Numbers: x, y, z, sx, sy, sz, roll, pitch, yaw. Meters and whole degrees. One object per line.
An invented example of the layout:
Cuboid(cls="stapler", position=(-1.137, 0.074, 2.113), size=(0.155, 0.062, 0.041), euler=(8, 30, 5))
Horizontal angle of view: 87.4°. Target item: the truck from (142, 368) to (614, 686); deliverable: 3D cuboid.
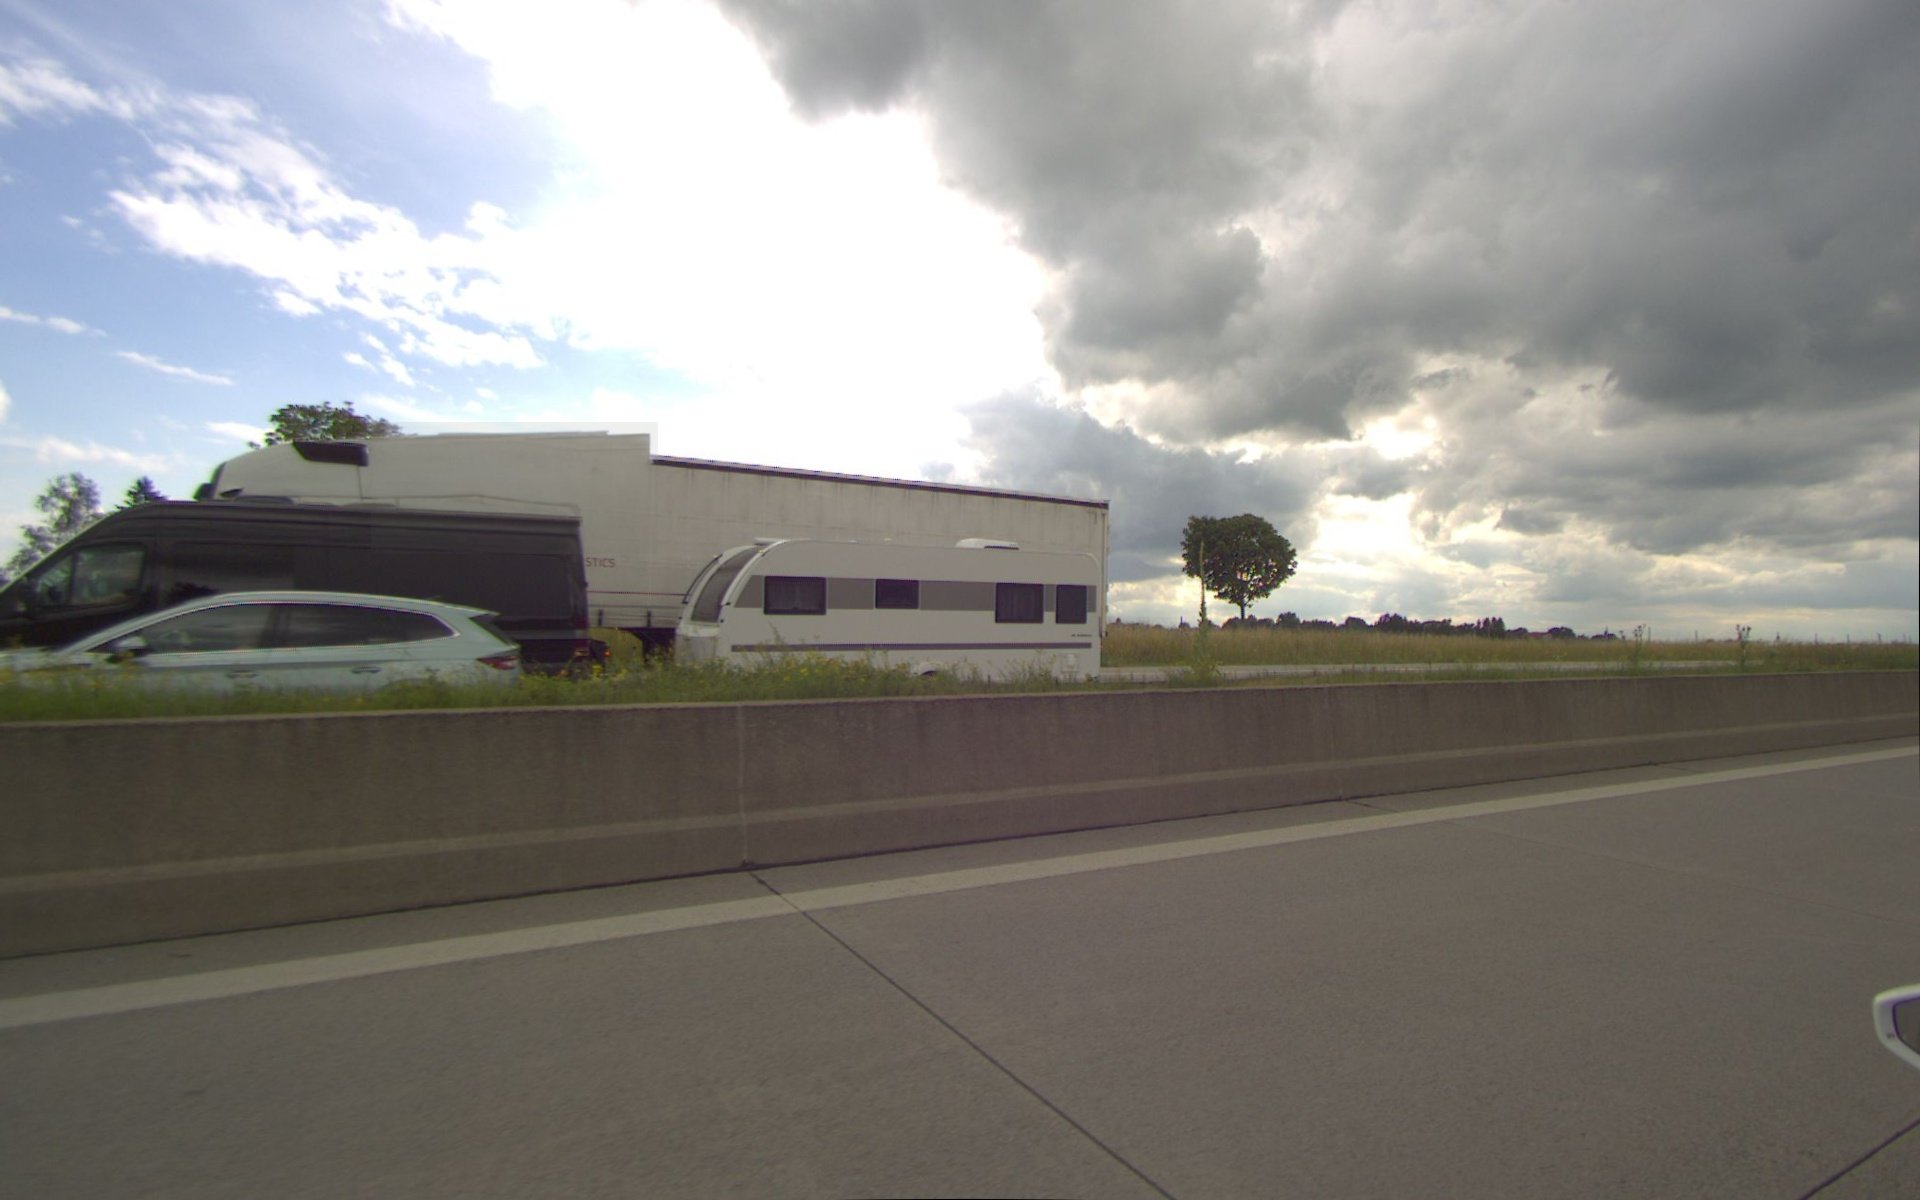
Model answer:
Cuboid(cls="truck", position=(-9.103, -0.881, 16.378), size=(6.021, 4.312, 2.827), euler=(2, 0, -31))

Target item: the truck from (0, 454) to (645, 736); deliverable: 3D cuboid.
Cuboid(cls="truck", position=(-7.695, 0.000, 12.194), size=(7.045, 2.761, 2.239), euler=(1, 0, -31))

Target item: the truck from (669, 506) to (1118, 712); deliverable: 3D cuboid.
Cuboid(cls="truck", position=(-0.959, 0.196, 16.357), size=(6.838, 2.761, 2.603), euler=(2, 0, -30))

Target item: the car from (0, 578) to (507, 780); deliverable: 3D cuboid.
Cuboid(cls="car", position=(-6.501, 0.621, 9.069), size=(4.166, 1.501, 1.983), euler=(2, -1, -32))

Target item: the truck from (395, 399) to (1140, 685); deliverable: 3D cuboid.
Cuboid(cls="truck", position=(-2.933, -0.601, 20.031), size=(14.398, 4.312, 2.827), euler=(3, -1, -31))
